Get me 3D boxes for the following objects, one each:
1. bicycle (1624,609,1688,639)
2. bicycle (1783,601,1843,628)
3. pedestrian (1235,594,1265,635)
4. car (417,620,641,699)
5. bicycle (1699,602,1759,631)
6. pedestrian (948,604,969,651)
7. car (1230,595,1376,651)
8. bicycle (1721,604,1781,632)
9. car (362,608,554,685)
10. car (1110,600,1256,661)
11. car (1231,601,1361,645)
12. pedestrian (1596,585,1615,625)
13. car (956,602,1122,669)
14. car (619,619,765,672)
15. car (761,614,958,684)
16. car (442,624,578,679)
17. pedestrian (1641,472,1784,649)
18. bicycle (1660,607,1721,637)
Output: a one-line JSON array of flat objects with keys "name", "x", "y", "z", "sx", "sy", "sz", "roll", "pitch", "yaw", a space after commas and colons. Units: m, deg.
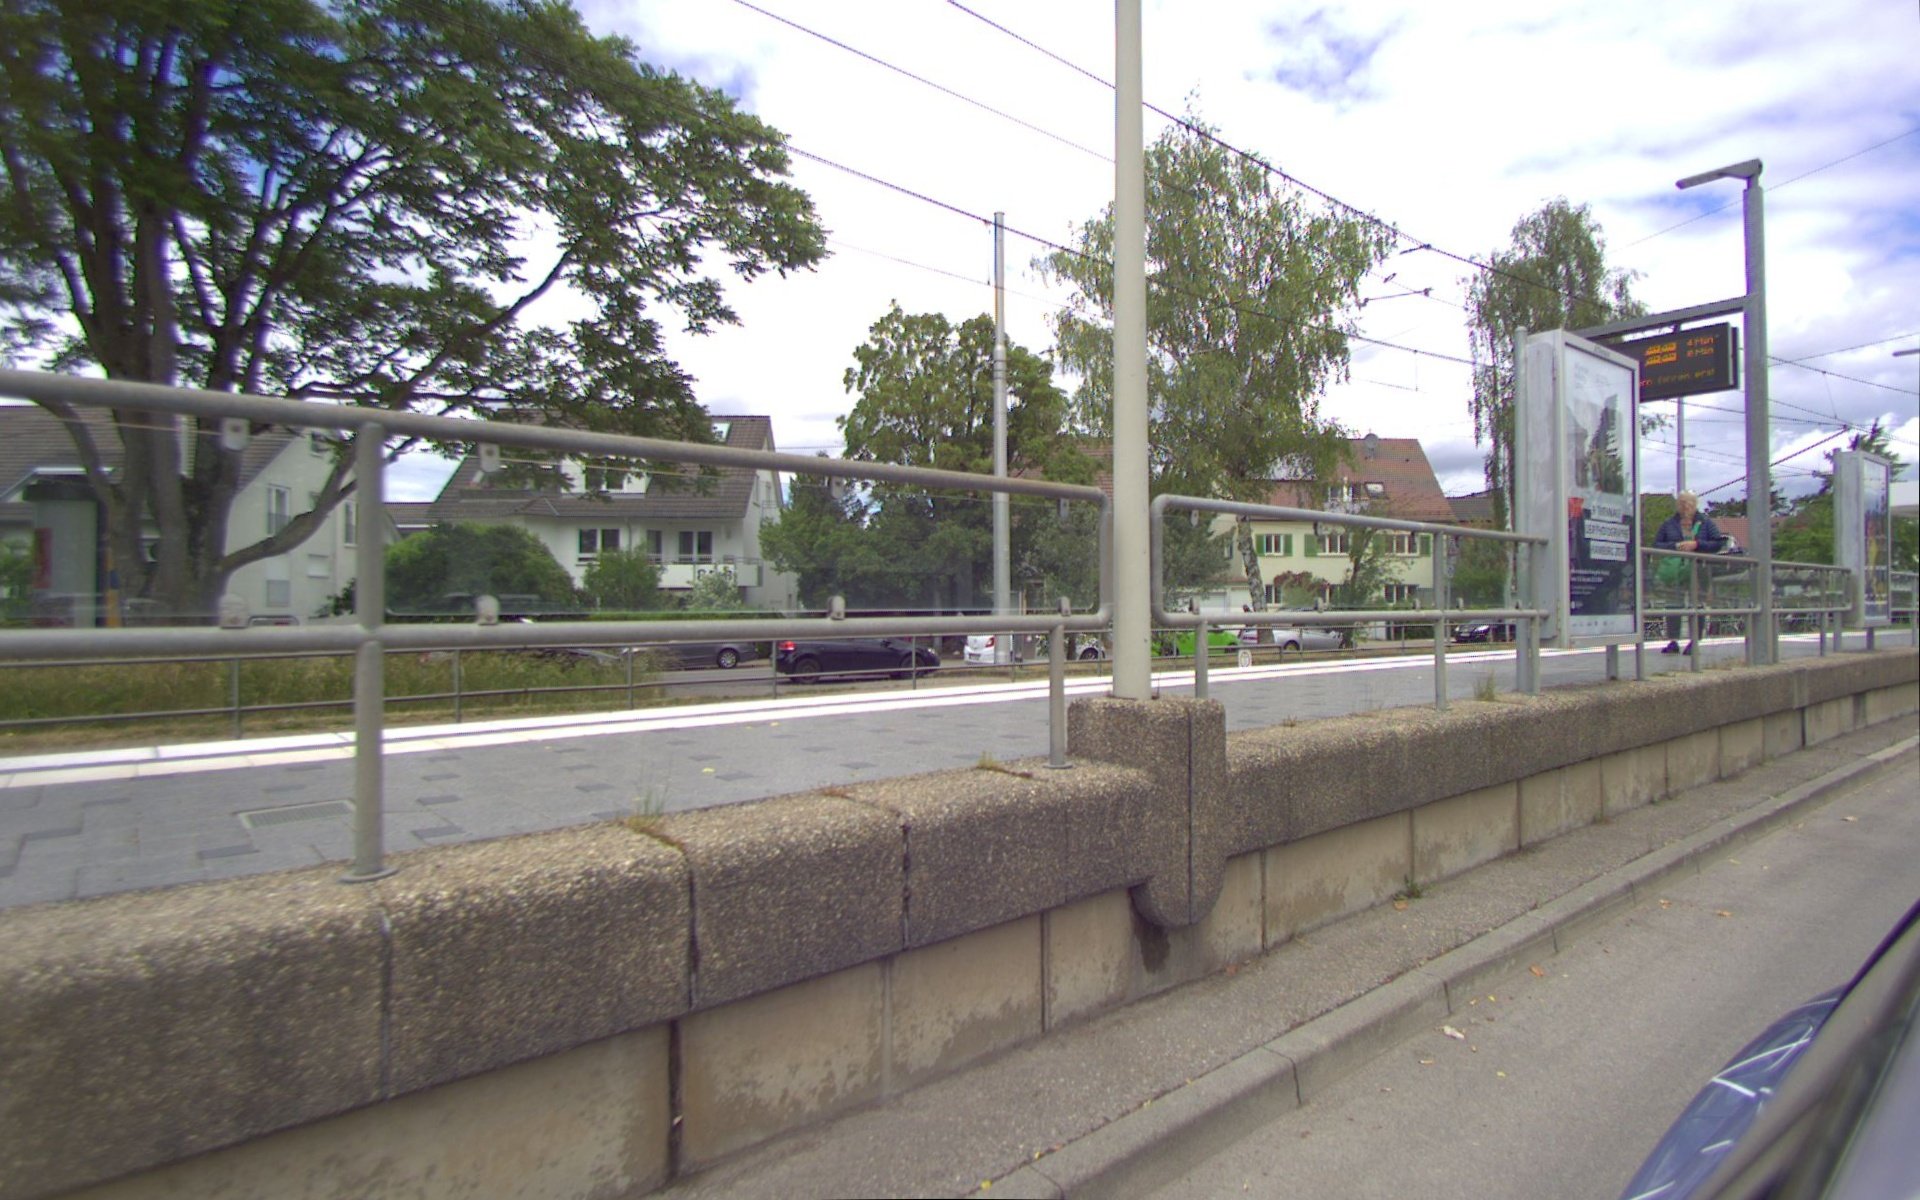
[{"name": "bicycle", "x": 24.917, "y": 0.849, "z": 36.253, "sx": 0.546, "sy": 1.055, "sz": 1.771, "roll": 0, "pitch": -1, "yaw": -33}, {"name": "bicycle", "x": 34.393, "y": 0.576, "z": 40.822, "sx": 0.545, "sy": 1.055, "sz": 1.773, "roll": -1, "pitch": -1, "yaw": -24}, {"name": "pedestrian", "x": 12.412, "y": 0.612, "z": 43.336, "sx": 0.930, "sy": 1.707, "sz": 0.811, "roll": 0, "pitch": -1, "yaw": -30}, {"name": "car", "x": -9.832, "y": 1.330, "z": 23.368, "sx": 4.411, "sy": 1.507, "sz": 1.764, "roll": -3, "pitch": 0, "yaw": -6}, {"name": "bicycle", "x": 29.300, "y": 0.619, "z": 38.595, "sx": 0.545, "sy": 1.055, "sz": 1.773, "roll": -1, "pitch": -1, "yaw": -24}, {"name": "pedestrian", "x": -0.062, "y": 1.057, "z": 38.912, "sx": 0.673, "sy": 1.794, "sz": 0.825, "roll": -1, "pitch": -1, "yaw": 10}, {"name": "car", "x": 10.693, "y": 0.673, "z": 31.482, "sx": 4.175, "sy": 1.594, "sz": 2.072, "roll": -1, "pitch": -1, "yaw": -30}, {"name": "bicycle", "x": 30.693, "y": 0.711, "z": 39.285, "sx": 0.545, "sy": 1.055, "sz": 1.773, "roll": -1, "pitch": -1, "yaw": -24}, {"name": "car", "x": -13.570, "y": 1.224, "z": 27.638, "sx": 4.407, "sy": 1.868, "sz": 1.765, "roll": -1, "pitch": -1, "yaw": -15}, {"name": "car", "x": 6.368, "y": 0.826, "z": 28.801, "sx": 3.920, "sy": 1.594, "sz": 1.737, "roll": -1, "pitch": -1, "yaw": -30}, {"name": "car", "x": 13.657, "y": 0.920, "z": 41.176, "sx": 4.738, "sy": 1.657, "sz": 1.825, "roll": -1, "pitch": -1, "yaw": -14}, {"name": "pedestrian", "x": 31.288, "y": 0.255, "z": 49.055, "sx": 0.623, "sy": 1.939, "sz": 0.818, "roll": -1, "pitch": -2, "yaw": 42}, {"name": "car", "x": 2.077, "y": 0.882, "z": 26.369, "sx": 4.018, "sy": 1.594, "sz": 1.764, "roll": -1, "pitch": -1, "yaw": -30}, {"name": "car", "x": -9.005, "y": 1.486, "z": 33.980, "sx": 4.598, "sy": 1.507, "sz": 1.766, "roll": -2, "pitch": 0, "yaw": -18}, {"name": "car", "x": -2.438, "y": 1.120, "z": 24.407, "sx": 4.406, "sy": 1.507, "sz": 1.850, "roll": -1, "pitch": -1, "yaw": -19}, {"name": "car", "x": -14.258, "y": 1.597, "z": 32.292, "sx": 3.819, "sy": 1.507, "sz": 1.766, "roll": -2, "pitch": 0, "yaw": -19}, {"name": "pedestrian", "x": 7.619, "y": -0.376, "z": 10.254, "sx": 0.892, "sy": 1.692, "sz": 0.889, "roll": 0, "pitch": -1, "yaw": -34}, {"name": "bicycle", "x": 27.086, "y": 0.808, "z": 37.538, "sx": 0.545, "sy": 1.055, "sz": 1.773, "roll": -1, "pitch": -1, "yaw": -24}]
